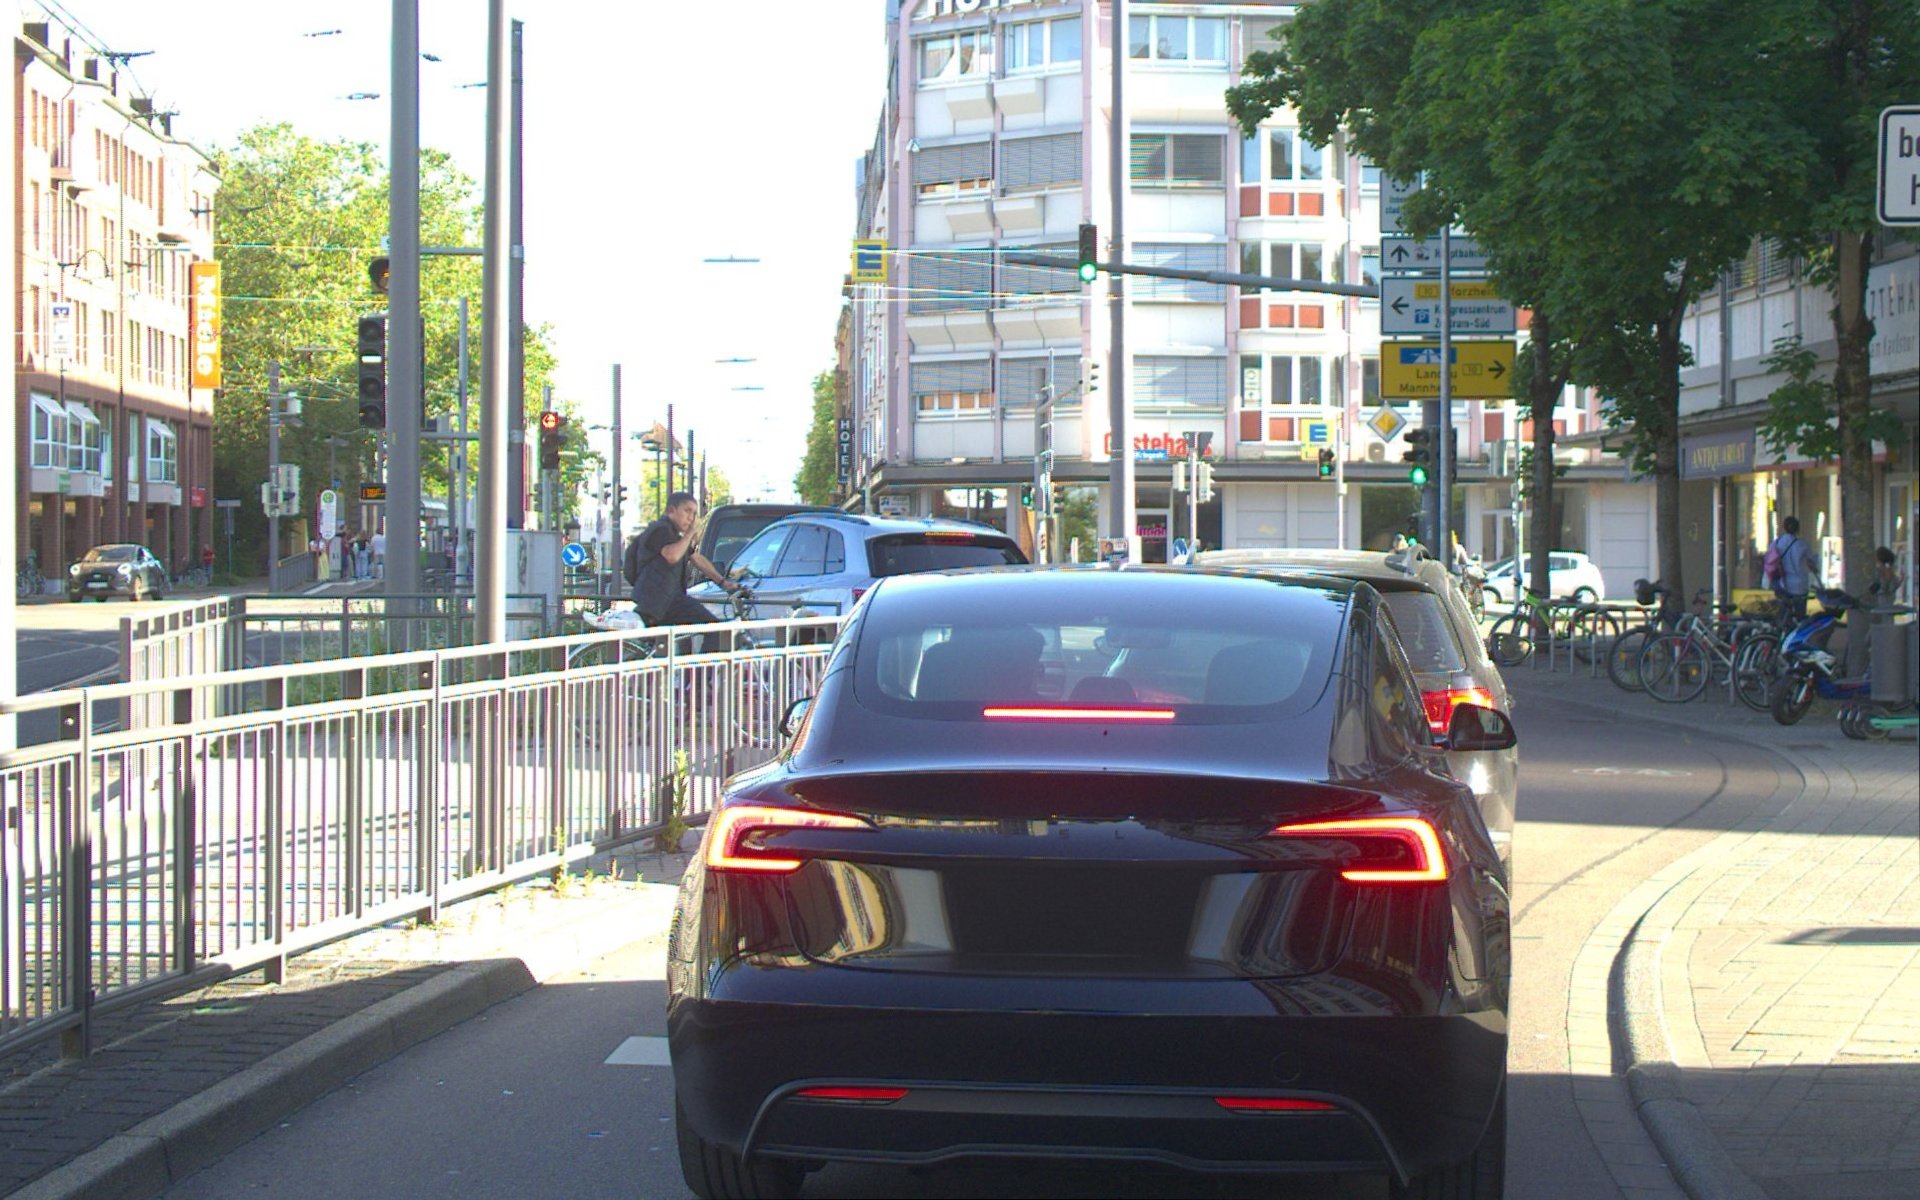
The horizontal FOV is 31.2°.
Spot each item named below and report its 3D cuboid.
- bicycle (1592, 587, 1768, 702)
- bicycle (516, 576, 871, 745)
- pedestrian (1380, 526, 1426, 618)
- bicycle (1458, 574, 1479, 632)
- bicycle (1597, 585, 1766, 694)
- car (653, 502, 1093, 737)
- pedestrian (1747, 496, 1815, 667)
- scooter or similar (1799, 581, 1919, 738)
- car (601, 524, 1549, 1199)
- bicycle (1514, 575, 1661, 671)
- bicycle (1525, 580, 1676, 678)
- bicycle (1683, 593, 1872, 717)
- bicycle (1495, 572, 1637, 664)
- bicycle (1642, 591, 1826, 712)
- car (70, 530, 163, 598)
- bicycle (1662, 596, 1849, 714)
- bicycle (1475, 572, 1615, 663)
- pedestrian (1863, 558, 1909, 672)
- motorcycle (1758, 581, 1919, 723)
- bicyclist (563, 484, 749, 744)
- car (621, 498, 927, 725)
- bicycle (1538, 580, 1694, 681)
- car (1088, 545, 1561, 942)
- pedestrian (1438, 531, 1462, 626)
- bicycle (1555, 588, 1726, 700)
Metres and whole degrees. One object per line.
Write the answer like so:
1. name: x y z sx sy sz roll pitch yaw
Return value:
1. bicycle: 6.997 0.431 33.413 1.649 1.095 0.350 1 0 -10
2. bicycle: -1.714 0.382 22.423 2.329 1.050 0.631 0 1 -38
3. pedestrian: 7.992 -0.506 62.026 0.699 1.656 0.777 1 0 -1
4. bicycle: 9.240 0.051 62.503 0.332 1.030 1.256 1 0 7
5. bicycle: 7.415 0.403 35.362 1.650 1.095 0.350 1 0 1
6. car: -0.768 0.117 26.552 1.883 1.656 4.159 1 1 -25
7. pedestrian: 9.747 -0.217 40.826 0.662 2.007 0.579 1 0 2
8. scooter or similar: 7.555 0.471 27.203 1.644 1.211 0.644 1 0 30
9. car: 0.366 0.571 8.688 1.829 1.450 3.999 1 1 4
10. bicycle: 7.359 0.266 40.354 1.650 1.095 0.350 1 0 1
11. bicycle: 7.326 0.327 39.341 1.650 1.095 0.350 1 0 1
12. bicycle: 7.380 0.494 31.041 1.649 1.095 0.350 1 0 -10
13. bicycle: 7.295 0.209 41.399 1.650 1.095 0.350 0 1 1
14. bicycle: 7.178 0.475 31.886 1.649 1.095 0.350 1 0 -10
15. car: -22.265 -0.950 90.893 1.697 1.725 3.707 1 1 -3
16. bicycle: 7.283 0.502 31.463 1.649 1.057 0.350 1 0 -10
17. bicycle: 7.228 0.218 42.493 1.650 1.095 0.350 1 0 1
18. pedestrian: 10.940 0.173 40.627 0.389 1.339 0.513 1 0 2
19. motorcycle: 7.713 0.443 29.214 1.707 1.169 0.541 1 0 -2
20. bicyclist: -1.958 0.080 22.097 0.758 1.623 0.978 0 1 -39
21. car: -1.838 0.074 32.662 1.993 2.007 4.001 0 1 -17
22. bicycle: 7.306 0.340 38.314 1.650 1.095 0.350 1 0 1
23. car: 1.569 0.505 14.923 1.751 1.449 3.999 1 1 6
24. pedestrian: 8.884 -0.385 62.368 0.402 1.704 0.527 1 0 7
25. bicycle: 6.787 0.441 34.301 1.649 1.095 0.350 1 0 -10
